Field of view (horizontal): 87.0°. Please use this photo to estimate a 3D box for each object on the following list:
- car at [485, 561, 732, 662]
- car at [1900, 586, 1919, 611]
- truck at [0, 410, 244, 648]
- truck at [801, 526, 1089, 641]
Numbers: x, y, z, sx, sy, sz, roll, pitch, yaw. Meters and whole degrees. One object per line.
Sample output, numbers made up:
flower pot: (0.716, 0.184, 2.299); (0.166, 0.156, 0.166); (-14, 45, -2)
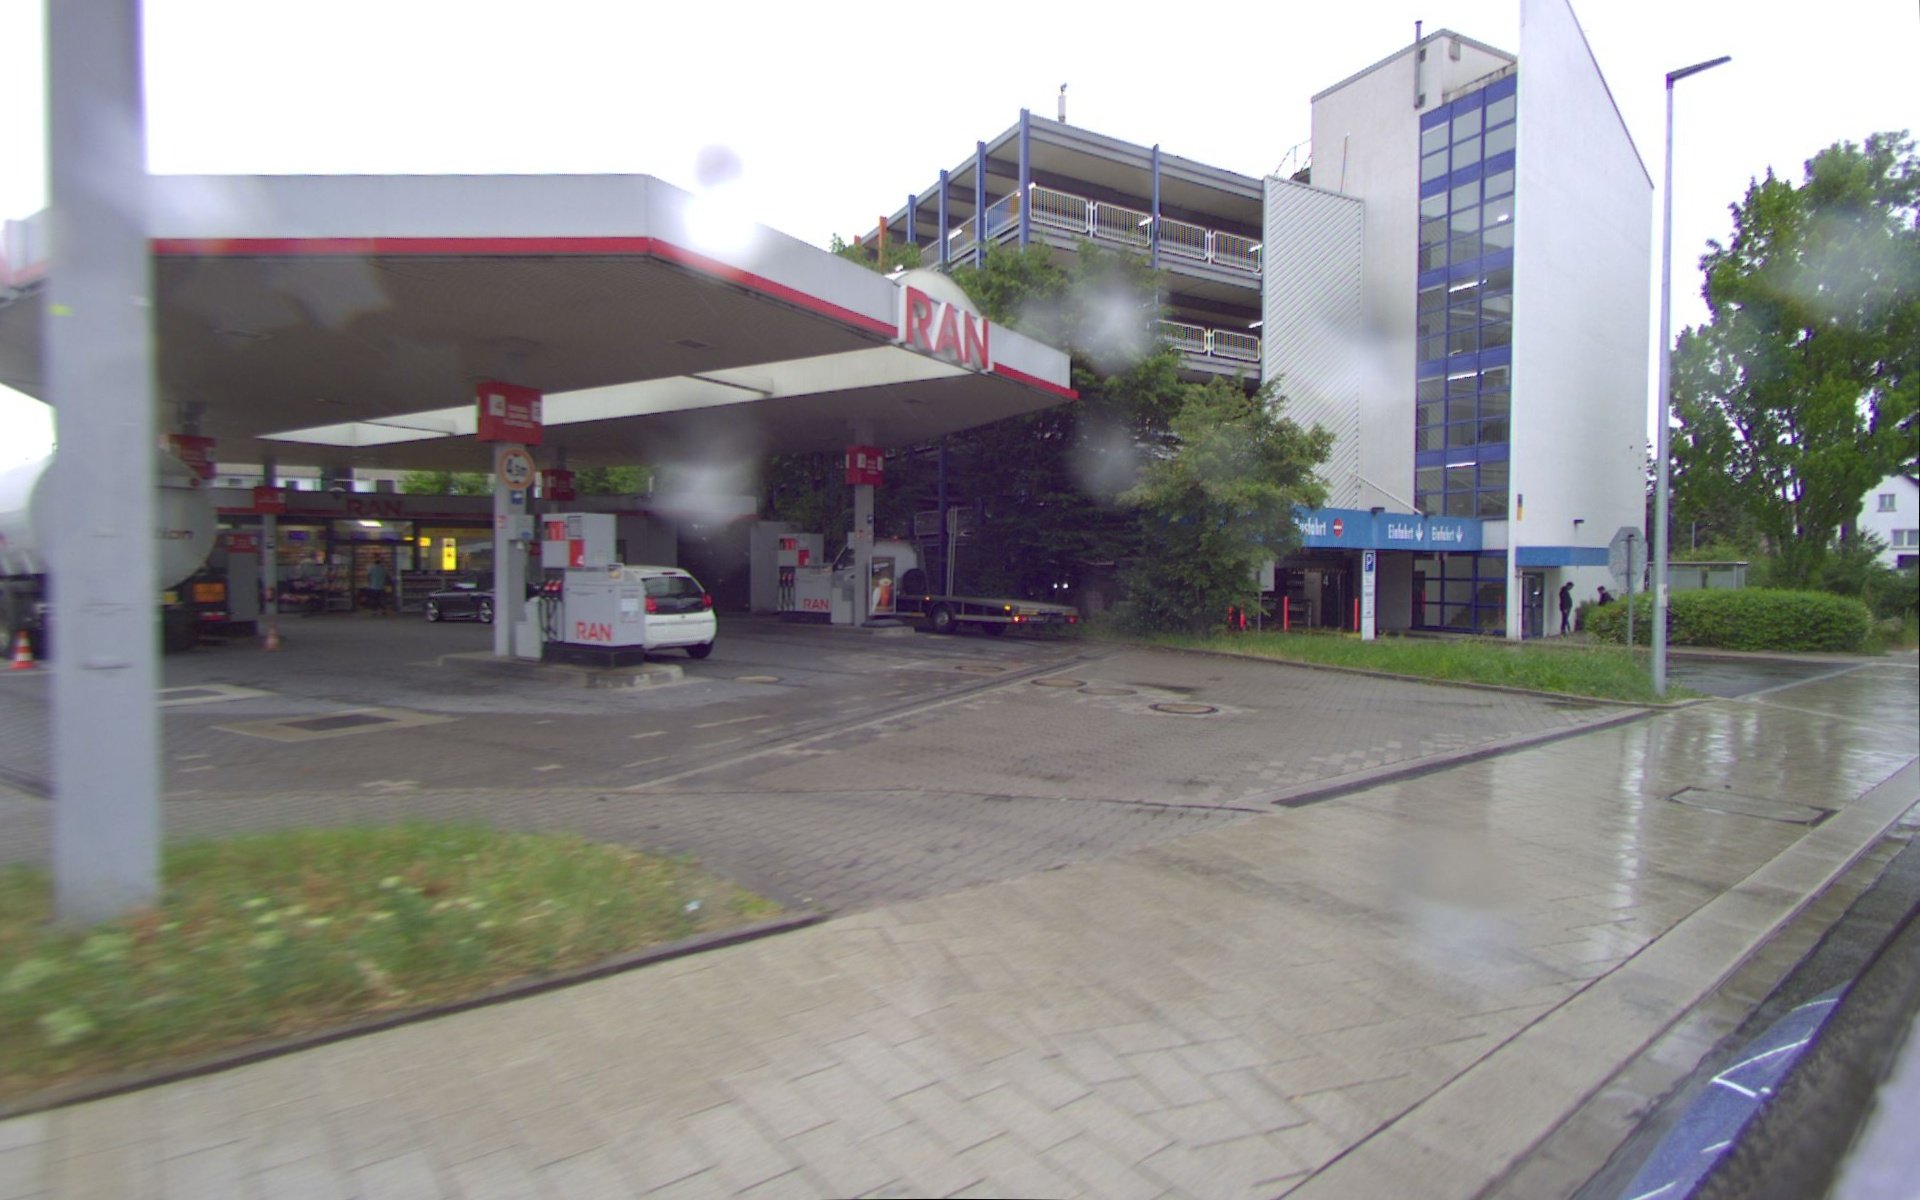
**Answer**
car: (-5.763, 0.114, 16.483); (3.971, 1.445, 1.755); (2, 1, 33)
car: (58.294, -0.042, 59.739); (1.838, 1.471, 3.991); (0, 2, -43)
truck: (-18.442, -1.084, 19.560); (14.315, 3.403, 2.614); (1, -1, 34)
truck: (-0.610, -0.485, 23.415); (7.280, 2.234, 2.052); (4, 1, 45)
